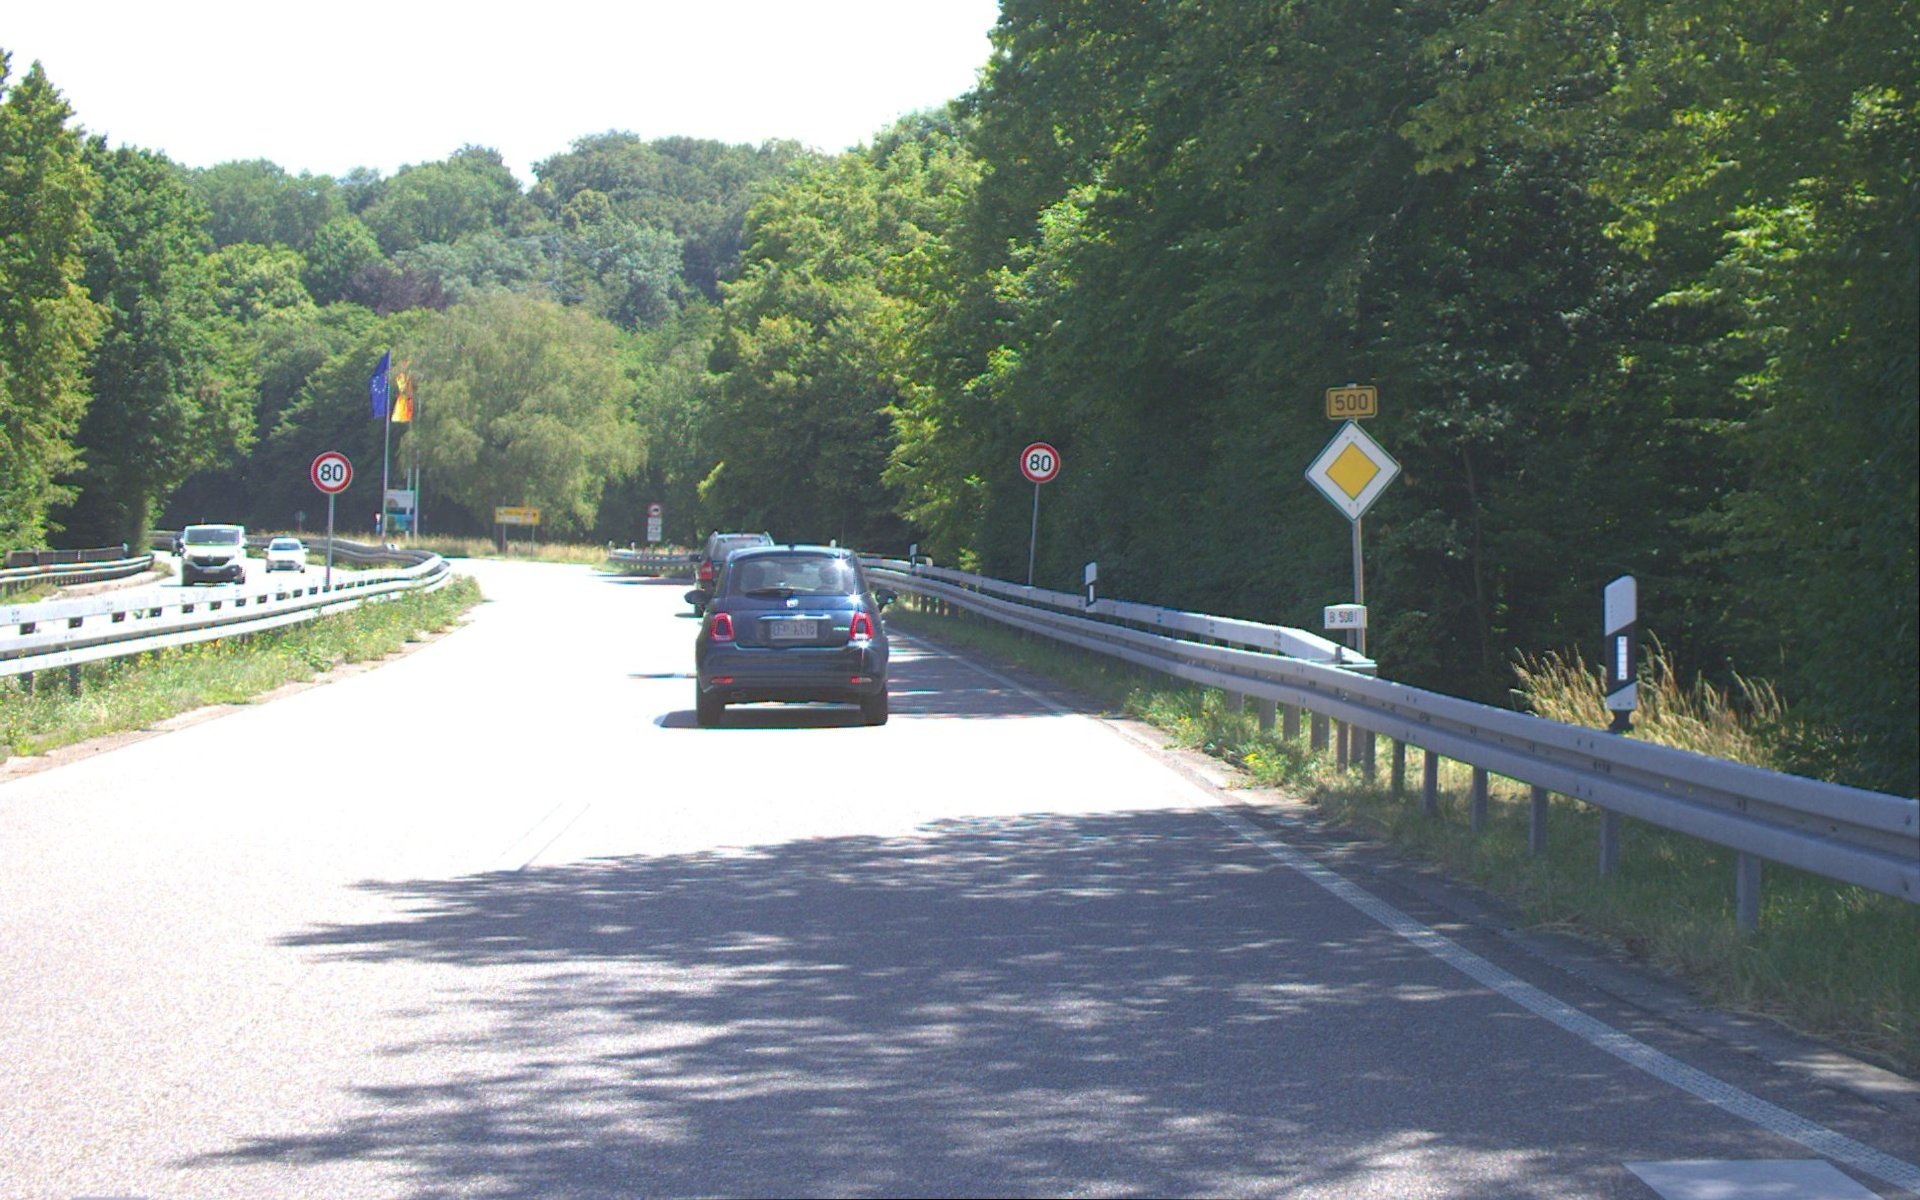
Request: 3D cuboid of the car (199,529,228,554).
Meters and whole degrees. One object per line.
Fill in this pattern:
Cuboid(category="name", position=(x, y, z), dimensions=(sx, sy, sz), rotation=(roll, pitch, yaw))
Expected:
Cuboid(category="car", position=(-48.249, -3.768, 222.265), dimensions=(1.650, 1.601, 4.221), rotation=(0, 1, -10))

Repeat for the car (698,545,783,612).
Cuboid(category="car", position=(-4.480, -0.456, 69.809), dimensions=(1.525, 1.309, 3.416), rotation=(0, 1, -7))

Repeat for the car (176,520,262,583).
Cuboid(category="car", position=(-23.516, -1.562, 109.313), dimensions=(1.989, 1.944, 5.641), rotation=(0, 1, -5))

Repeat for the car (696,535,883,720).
Cuboid(category="car", position=(-1.487, 0.192, 29.726), dimensions=(1.513, 1.495, 3.590), rotation=(0, 1, -3))

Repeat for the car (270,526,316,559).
Cuboid(category="car", position=(-29.292, -2.528, 150.983), dimensions=(1.651, 1.442, 4.220), rotation=(0, 1, -6))
